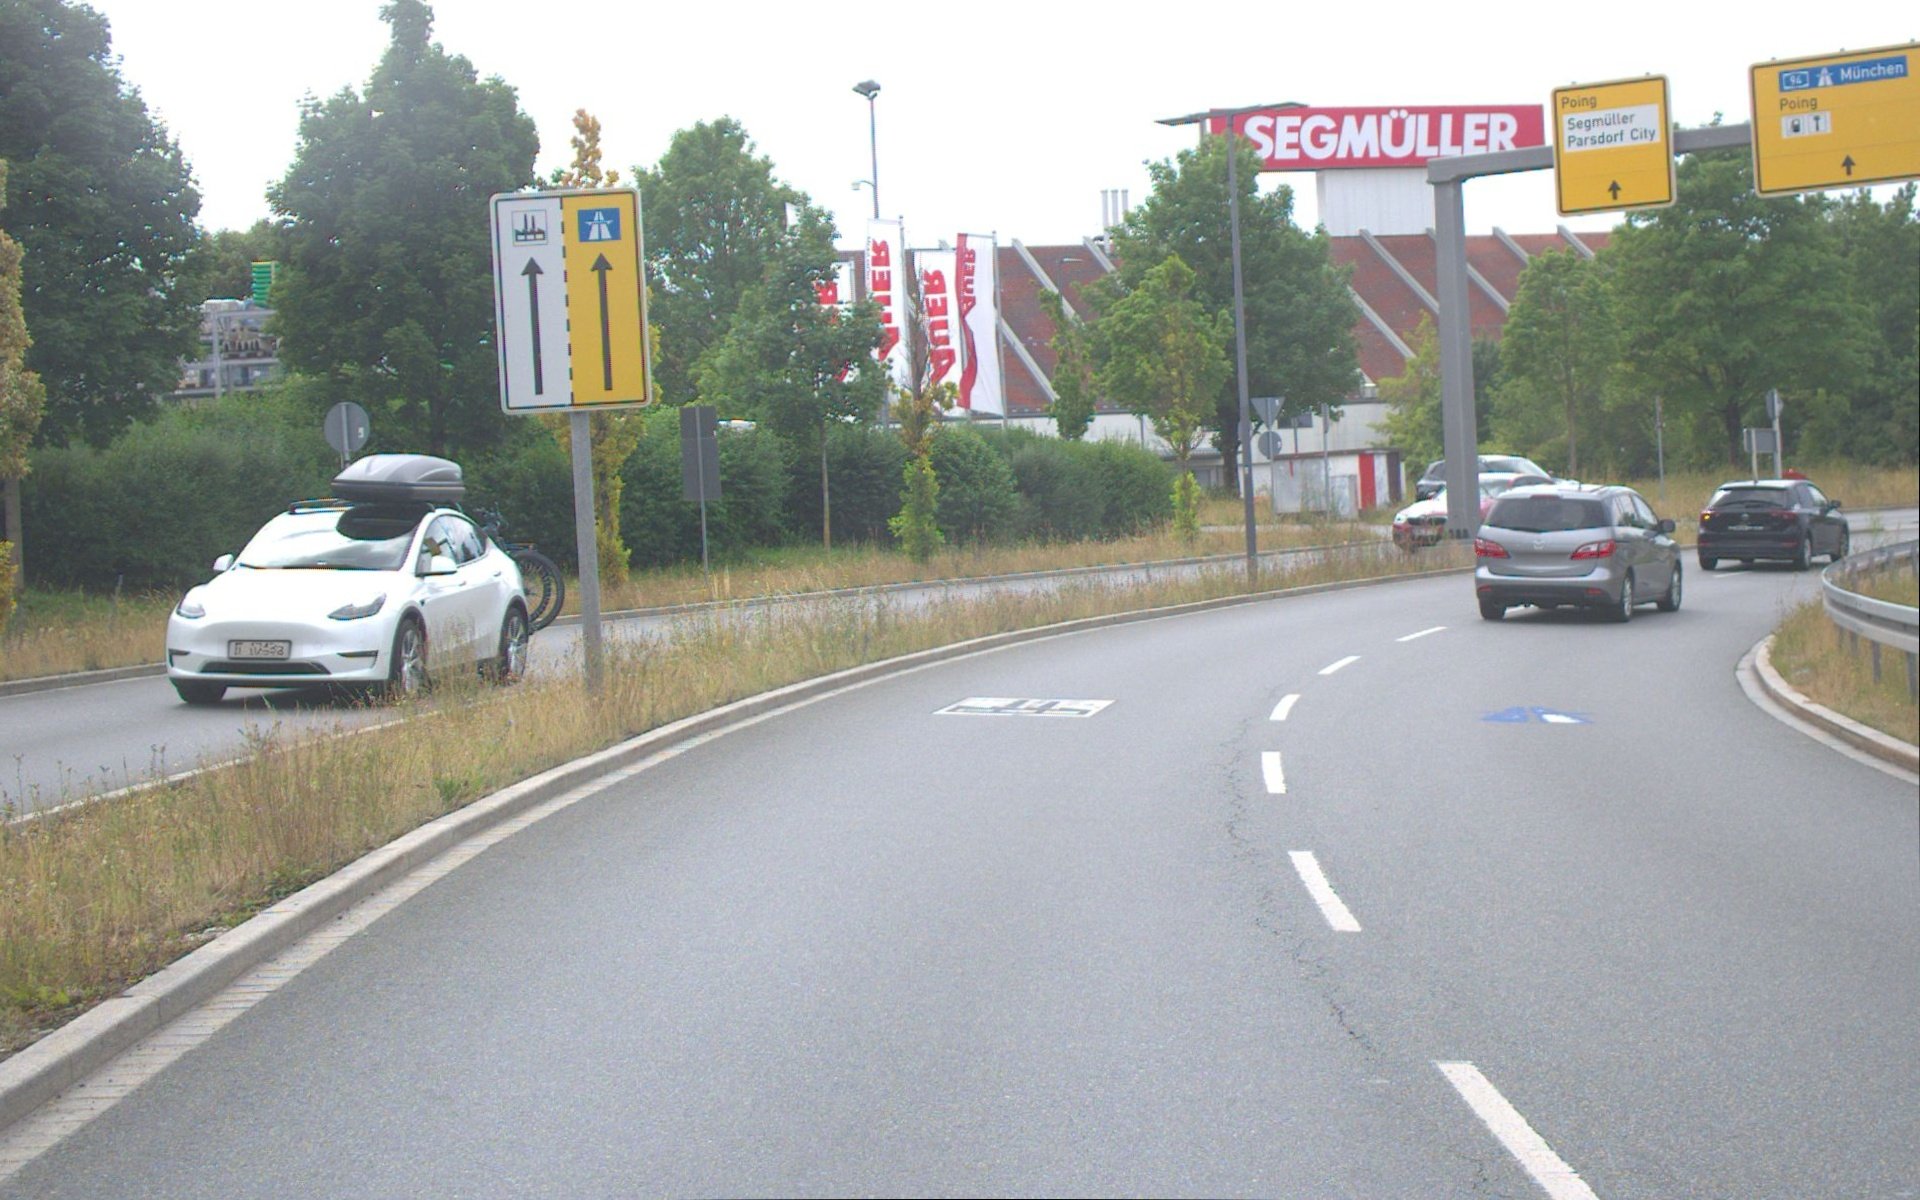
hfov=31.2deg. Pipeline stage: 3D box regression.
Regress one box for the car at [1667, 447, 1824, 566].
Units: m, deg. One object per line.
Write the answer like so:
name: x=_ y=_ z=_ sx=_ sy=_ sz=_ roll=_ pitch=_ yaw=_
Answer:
car: x=12.674 y=-1.531 z=55.301 sx=1.871 sy=1.599 sz=3.732 roll=-3 pitch=4 yaw=21

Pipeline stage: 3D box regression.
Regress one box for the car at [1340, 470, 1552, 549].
car: x=9.413 y=-1.757 z=66.265 sx=1.795 sy=1.442 sz=4.961 roll=2 pitch=3 yaw=38

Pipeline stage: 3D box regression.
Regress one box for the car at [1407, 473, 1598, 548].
car: x=12.094 y=-1.984 z=76.932 sx=1.868 sy=1.544 sz=4.255 roll=-2 pitch=1 yaw=-31

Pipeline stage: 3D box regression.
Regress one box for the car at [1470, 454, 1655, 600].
car: x=7.277 y=-0.834 z=41.260 sx=1.768 sy=1.611 sz=3.918 roll=-1 pitch=-1 yaw=16

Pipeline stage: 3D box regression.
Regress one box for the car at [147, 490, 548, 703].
car: x=-5.087 y=-0.104 z=29.247 sx=1.909 sy=1.620 sz=4.636 roll=1 pitch=2 yaw=9
